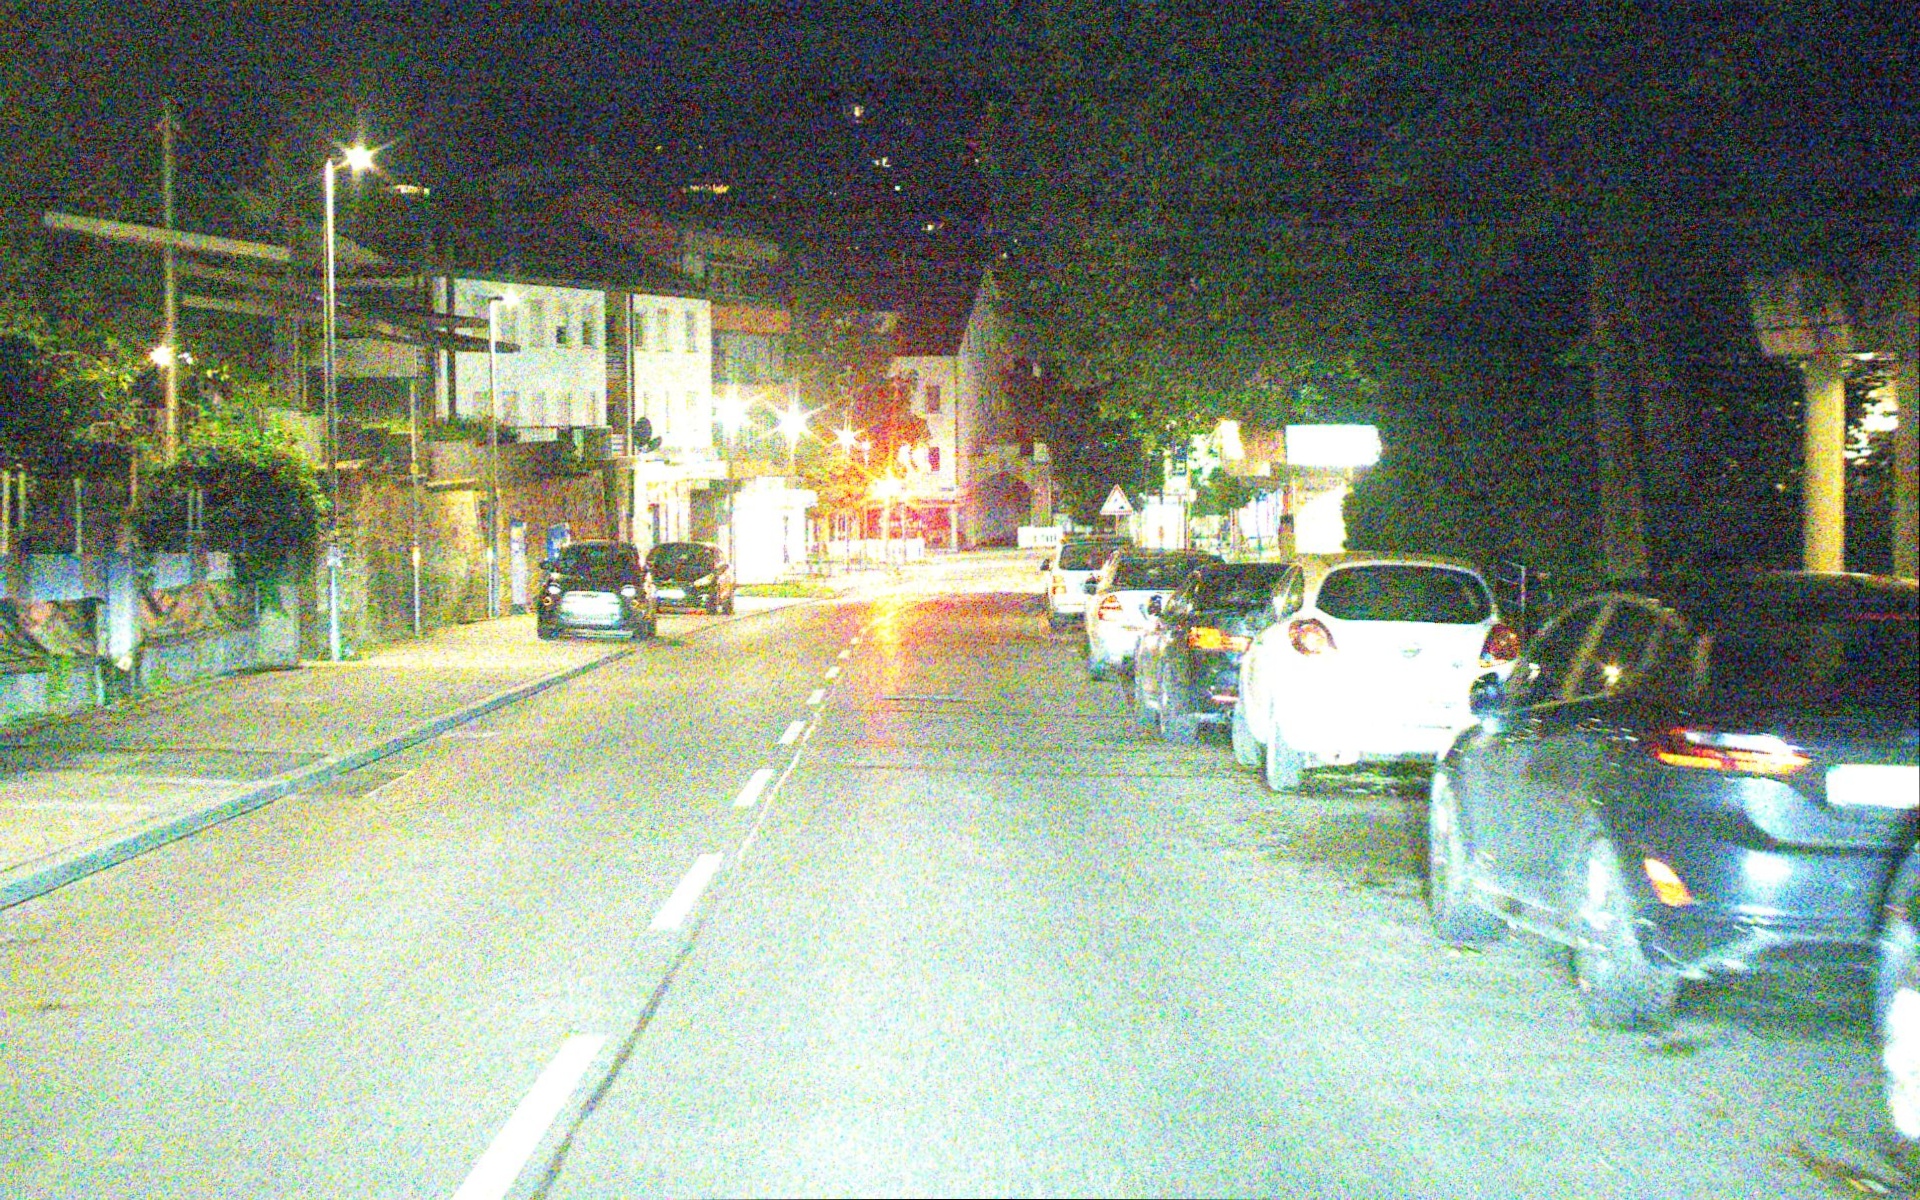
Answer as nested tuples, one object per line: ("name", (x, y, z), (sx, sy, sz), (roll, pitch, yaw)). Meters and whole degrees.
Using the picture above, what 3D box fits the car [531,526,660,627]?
("car", (-5.723, -0.362, 54.333), (1.691, 1.518, 3.691), (1, 0, -1))

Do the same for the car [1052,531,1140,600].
("car", (2.983, -0.779, 76.114), (1.857, 1.437, 4.594), (-2, 1, 1))

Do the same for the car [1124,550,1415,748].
("car", (2.372, 0.328, 27.414), (1.762, 1.411, 4.441), (1, 1, -2))

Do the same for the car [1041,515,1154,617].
("car", (2.330, -0.607, 59.286), (1.787, 1.636, 4.380), (-2, 1, 1))

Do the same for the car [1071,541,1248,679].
("car", (2.201, 0.068, 38.991), (1.676, 1.442, 4.612), (-1, 1, -1))

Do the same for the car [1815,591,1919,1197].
("car", (3.053, 0.720, 7.185), (1.600, 1.394, 3.518), (1, 1, -1))

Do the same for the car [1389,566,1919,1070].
("car", (2.706, 0.630, 12.268), (1.676, 1.442, 4.001), (-1, 1, -2))

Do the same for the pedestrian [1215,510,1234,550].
("pedestrian", (11.892, -3.157, 154.609), (0.716, 1.789, 0.737), (1, 0, 12))

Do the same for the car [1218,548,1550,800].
("car", (2.700, 0.419, 22.633), (1.638, 1.461, 3.776), (1, 1, -1))

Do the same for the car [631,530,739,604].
("car", (-5.694, -0.706, 71.509), (1.692, 1.432, 4.128), (2, 1, 3))

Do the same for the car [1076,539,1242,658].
("car", (2.552, -0.052, 45.003), (1.780, 1.432, 4.290), (1, 1, -1))
